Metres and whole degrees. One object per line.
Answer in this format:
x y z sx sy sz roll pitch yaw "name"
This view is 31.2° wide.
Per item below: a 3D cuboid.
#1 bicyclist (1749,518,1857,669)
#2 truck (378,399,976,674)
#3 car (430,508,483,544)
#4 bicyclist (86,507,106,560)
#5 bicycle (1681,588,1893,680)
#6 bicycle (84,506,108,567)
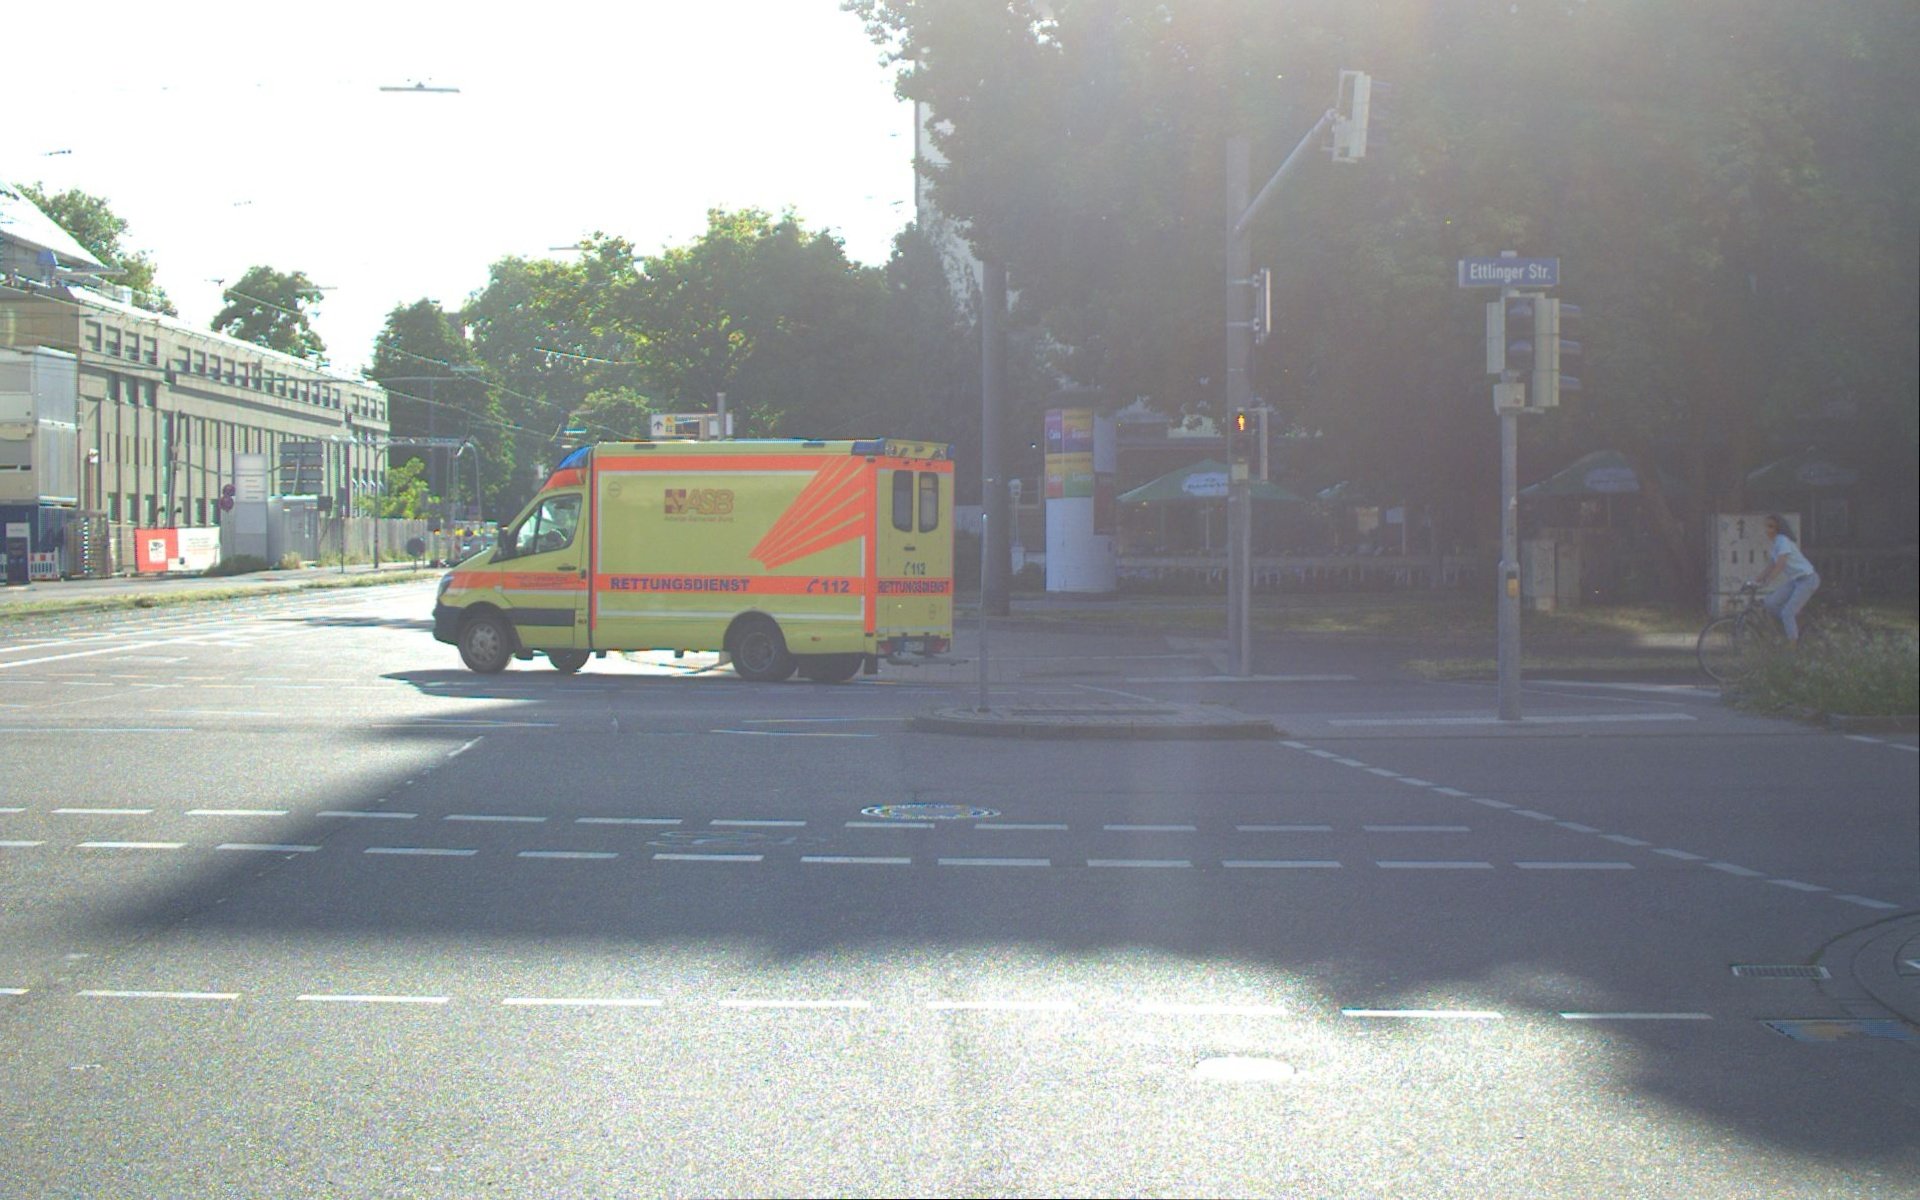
8.805 -0.070 35.923 0.974 1.555 0.575 -1 1 -1 "bicyclist"
-3.315 -0.730 40.166 6.477 3.005 2.722 0 1 26 "truck"
-22.878 -3.343 156.254 1.894 1.601 4.501 -1 1 -2 "car"
-32.713 -2.510 130.154 0.571 2.017 0.762 0 1 -2 "bicyclist"
8.638 0.350 35.939 2.064 0.930 0.575 -1 1 -1 "bicycle"
-32.718 -2.415 130.166 0.571 2.288 1.422 0 1 -2 "bicycle"
